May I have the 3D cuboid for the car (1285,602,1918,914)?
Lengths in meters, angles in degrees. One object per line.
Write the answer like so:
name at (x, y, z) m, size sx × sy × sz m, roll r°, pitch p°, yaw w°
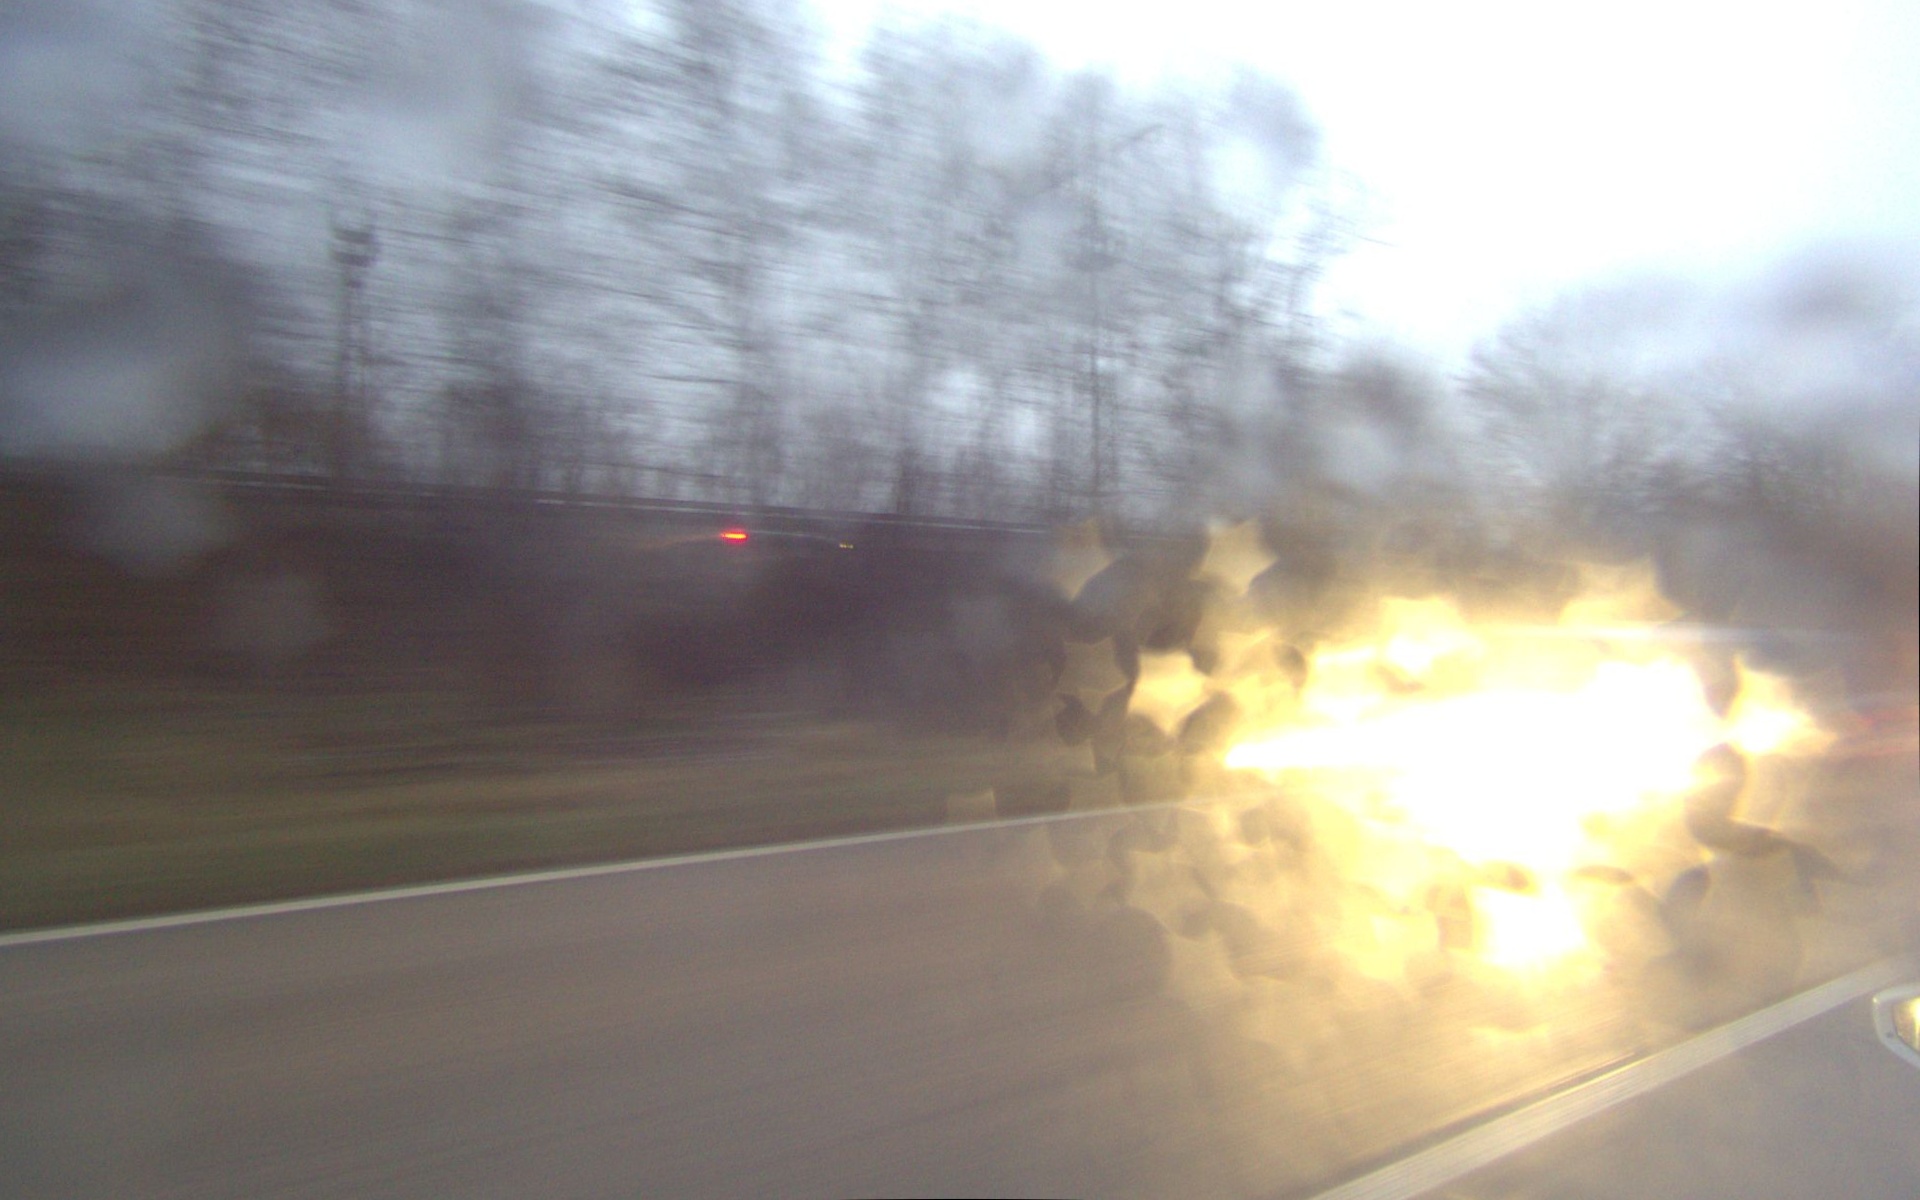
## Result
car at (4.450, 0.823, 6.805) m, size 4.430 × 1.493 × 1.737 m, roll 1°, pitch 1°, yaw -30°
